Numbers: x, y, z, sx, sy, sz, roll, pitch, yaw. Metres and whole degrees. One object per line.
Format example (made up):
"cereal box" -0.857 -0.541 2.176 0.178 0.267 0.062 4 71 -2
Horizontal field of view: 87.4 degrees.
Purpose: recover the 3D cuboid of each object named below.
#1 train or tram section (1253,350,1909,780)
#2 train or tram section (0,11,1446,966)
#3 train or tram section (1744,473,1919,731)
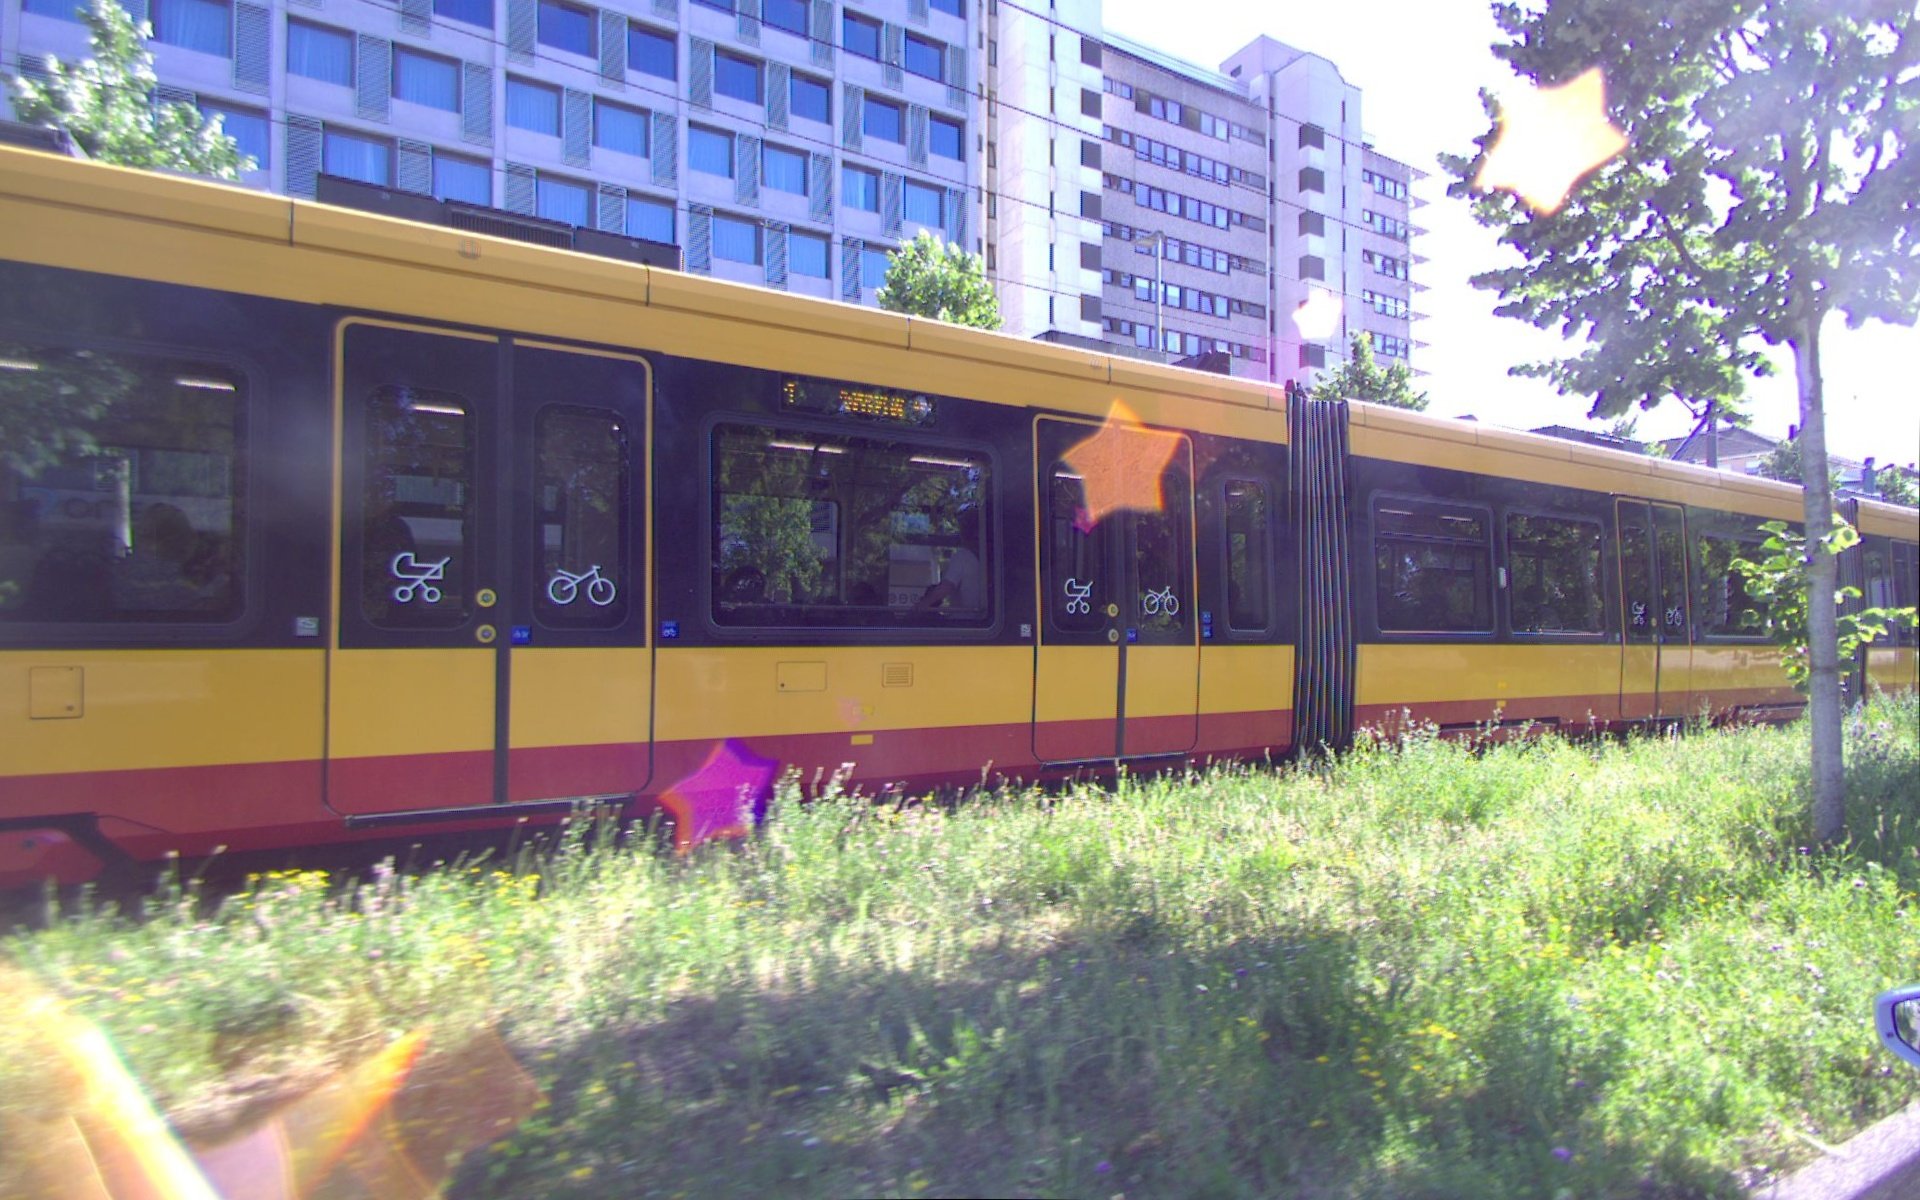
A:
"train or tram section" 8.347 -0.173 12.418 11.185 3.718 1.984 2 -1 -31
"train or tram section" -2.246 -0.374 5.984 13.991 3.718 1.983 2 -1 -31
"train or tram section" 18.084 0.165 18.206 11.546 3.718 1.984 2 -1 -30
